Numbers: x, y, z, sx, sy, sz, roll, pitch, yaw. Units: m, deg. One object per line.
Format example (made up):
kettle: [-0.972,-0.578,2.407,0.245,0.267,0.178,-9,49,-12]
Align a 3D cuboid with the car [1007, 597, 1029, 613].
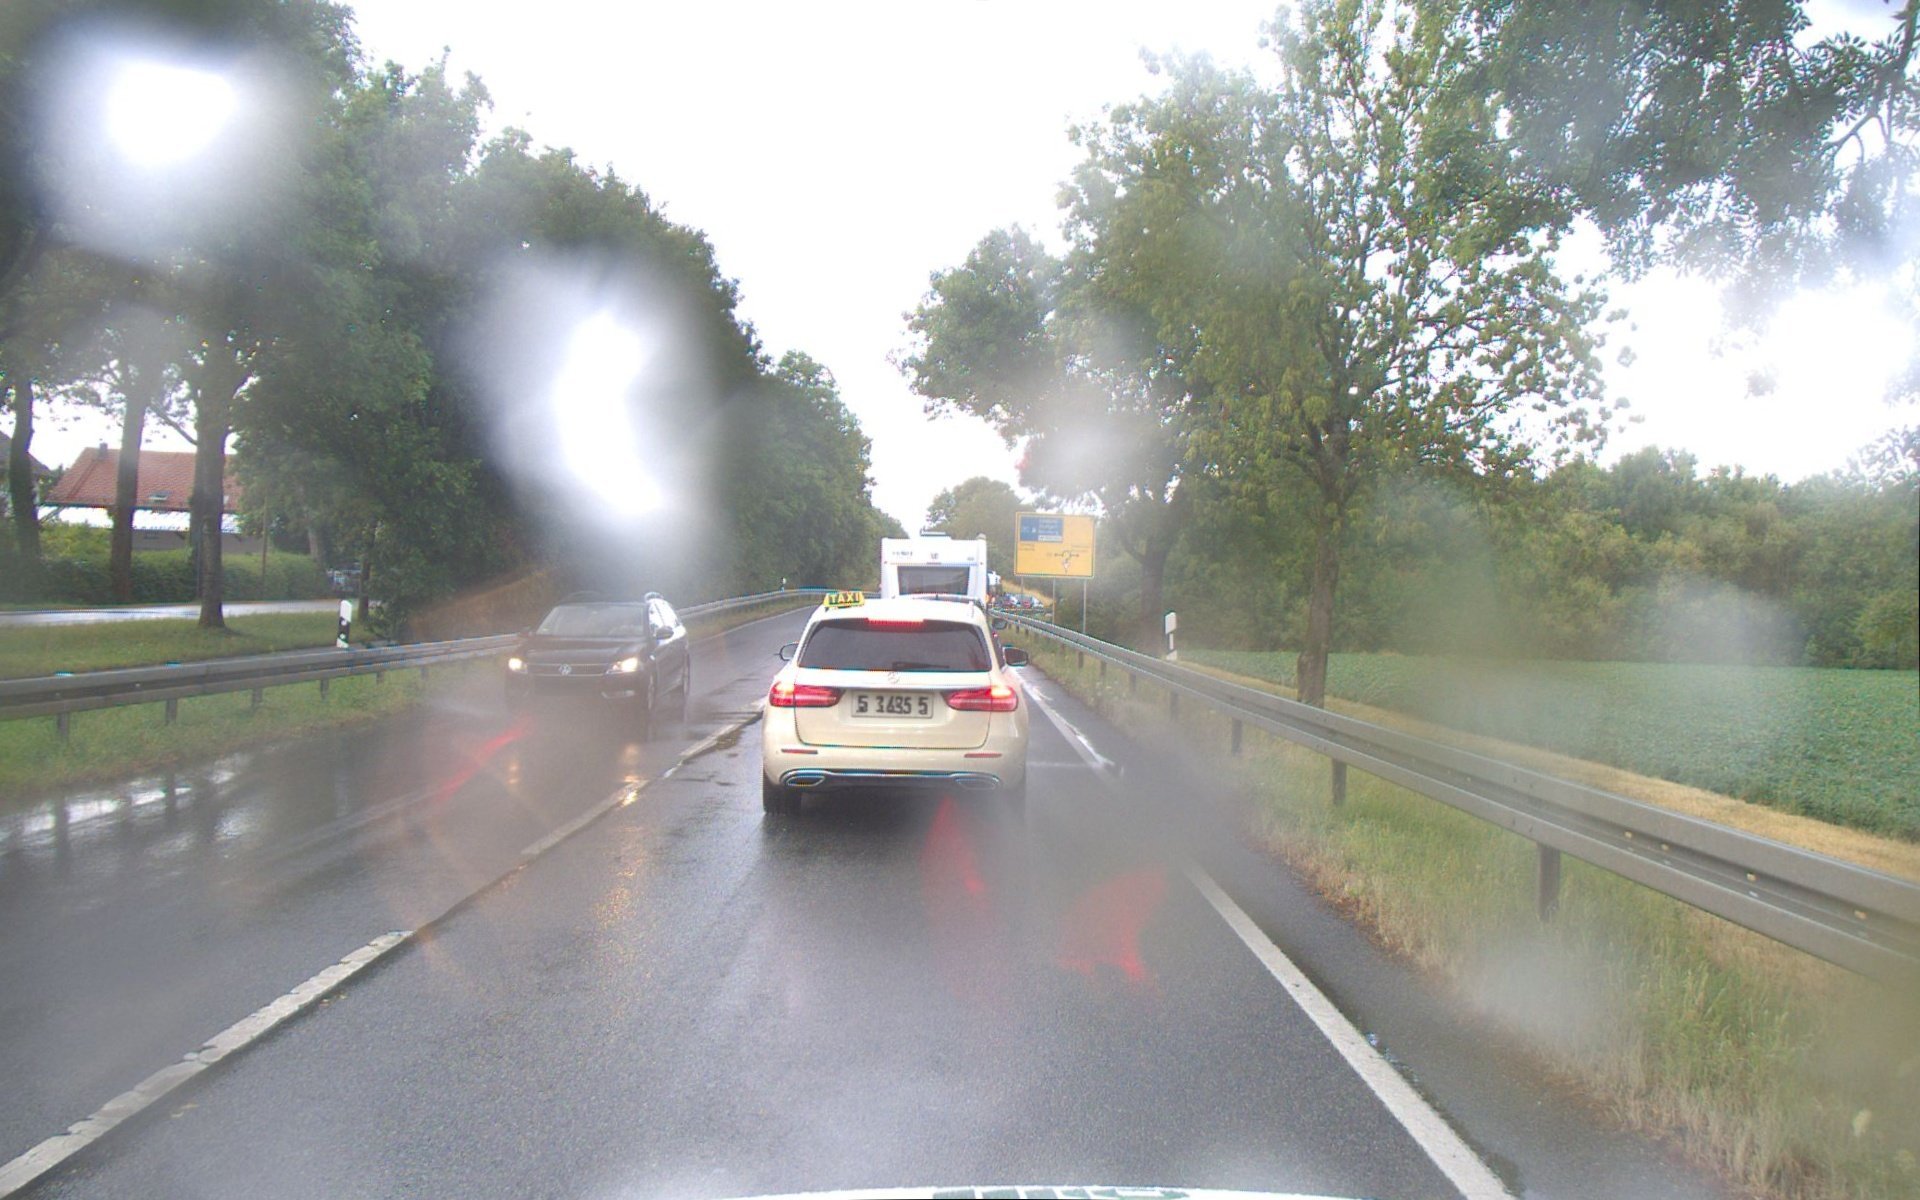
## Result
car: [4.107,0.348,118.302,1.519,1.138,4.001,0,0,1]

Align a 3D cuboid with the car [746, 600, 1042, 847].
car: [-0.388,0.762,12.208,1.826,1.502,4.000,0,0,1]

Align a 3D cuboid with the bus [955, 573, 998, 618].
bus: [0.752,-0.232,77.715,1.953,2.049,3.999,0,0,-1]

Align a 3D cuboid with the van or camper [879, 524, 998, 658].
van or camper: [-0.416,-0.191,37.055,2.438,2.732,5.700,1,0,1]

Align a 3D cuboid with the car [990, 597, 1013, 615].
car: [2.766,0.406,110.738,1.520,1.138,4.000,0,0,0]

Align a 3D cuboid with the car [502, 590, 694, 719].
car: [-4.489,0.620,21.025,1.595,1.463,3.959,1,0,-1]

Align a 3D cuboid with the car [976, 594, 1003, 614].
car: [1.773,0.248,101.503,1.520,1.138,3.999,1,0,-1]

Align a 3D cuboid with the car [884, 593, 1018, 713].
car: [-0.085,0.634,22.100,1.630,1.456,4.000,0,0,1]
